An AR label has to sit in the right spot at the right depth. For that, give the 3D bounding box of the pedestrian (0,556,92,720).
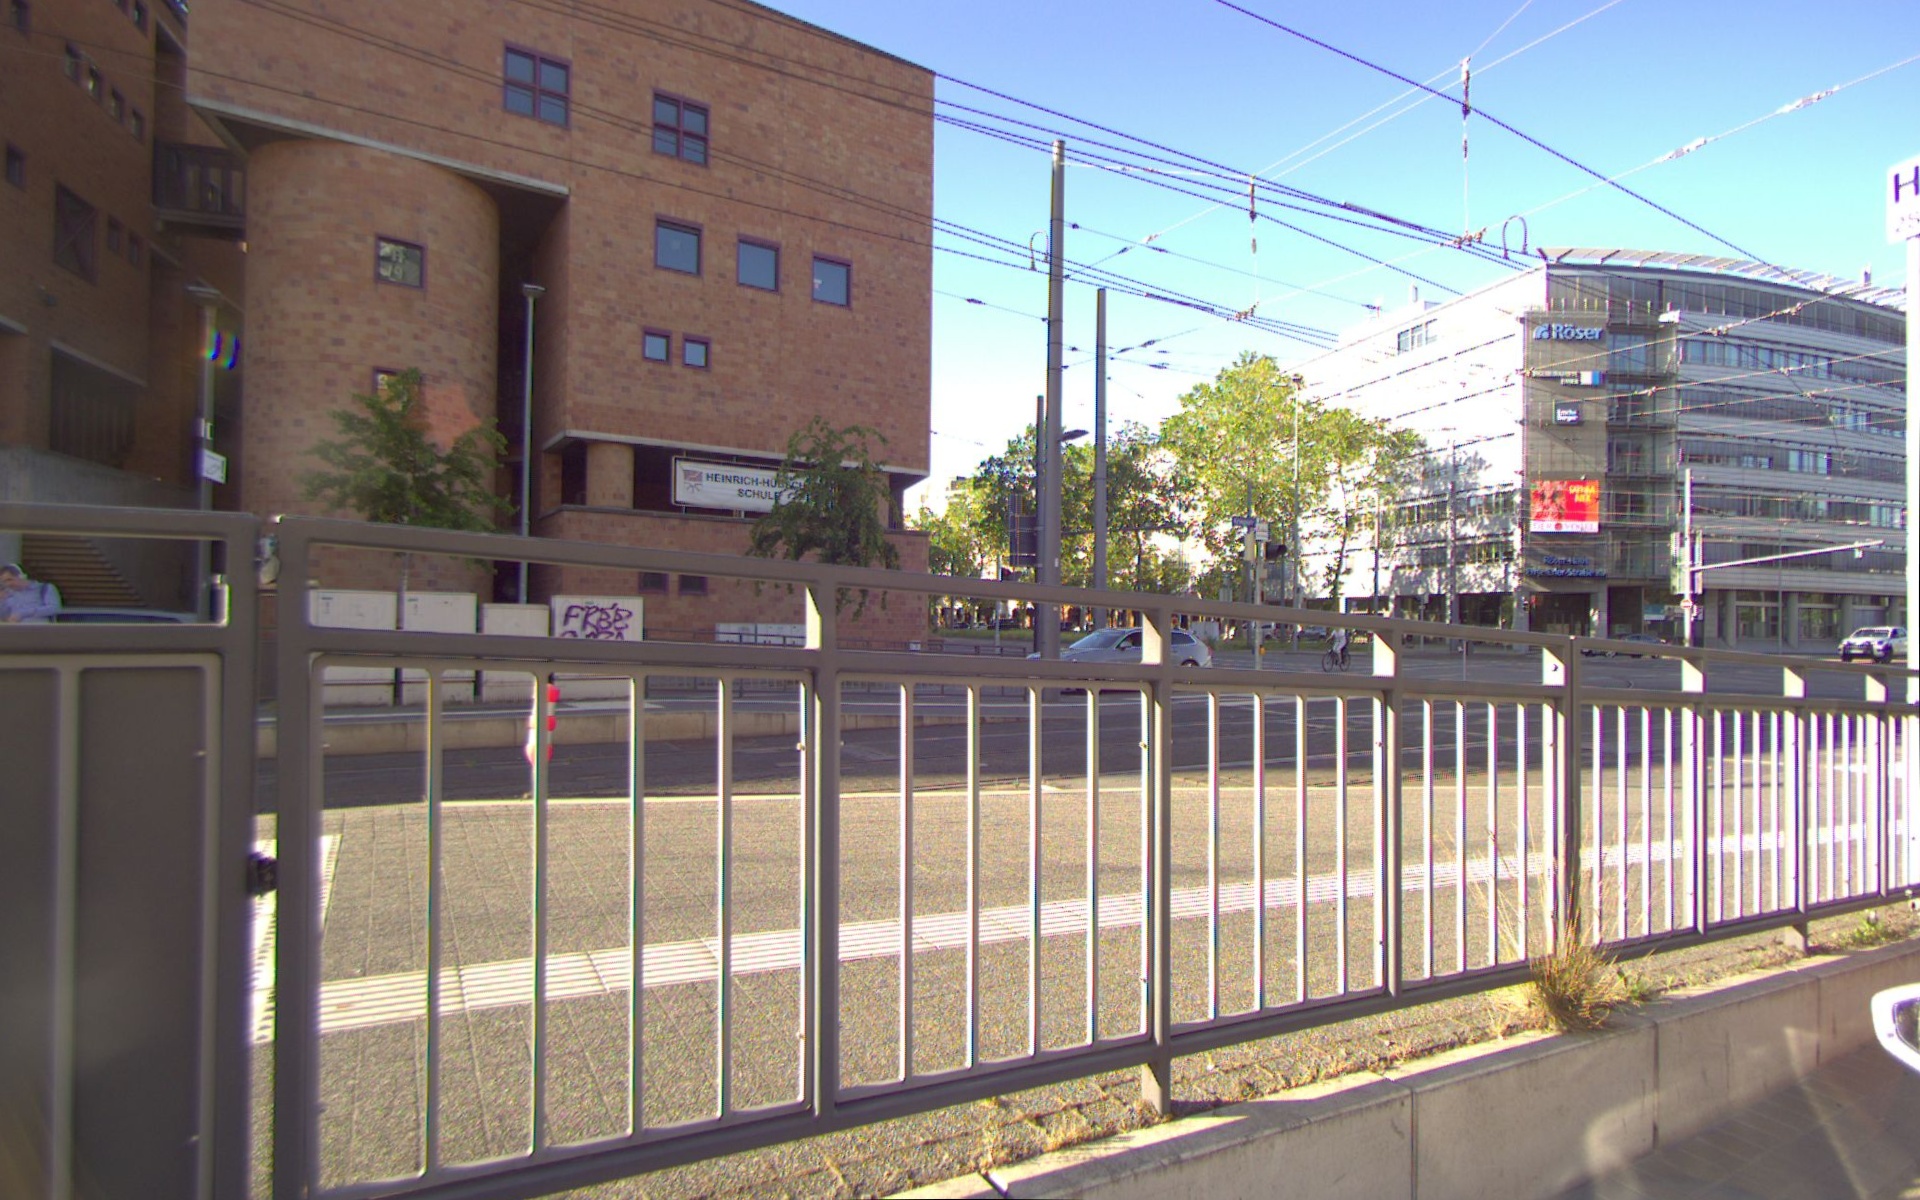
[{"bbox_3d":[-9.679,0.386,10.581,0.679,1.656,0.662,2,0,-34],"label":"pedestrian"}]

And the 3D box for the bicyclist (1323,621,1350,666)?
[{"bbox_3d":[13.214,1.535,35.267,0.642,1.554,0.584,2,0,-30],"label":"bicyclist"}]

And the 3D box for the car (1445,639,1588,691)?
[{"bbox_3d":[13.545,1.548,24.505,2.841,1.077,1.238,2,0,40],"label":"car"}]

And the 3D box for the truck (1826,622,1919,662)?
[{"bbox_3d":[46.088,2.163,50.595,5.091,1.904,1.986,2,-4,-28],"label":"truck"}]

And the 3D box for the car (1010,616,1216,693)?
[{"bbox_3d":[3.539,1.224,22.880,4.646,1.589,1.814,2,-2,-34],"label":"car"}]

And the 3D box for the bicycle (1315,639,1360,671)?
[{"bbox_3d":[13.286,1.938,35.348,1.793,1.104,0.458,2,-3,-30],"label":"bicycle"}]

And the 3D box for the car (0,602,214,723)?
[{"bbox_3d":[-13.109,0.845,14.012,4.198,1.589,1.814,2,-2,-35],"label":"car"}]
